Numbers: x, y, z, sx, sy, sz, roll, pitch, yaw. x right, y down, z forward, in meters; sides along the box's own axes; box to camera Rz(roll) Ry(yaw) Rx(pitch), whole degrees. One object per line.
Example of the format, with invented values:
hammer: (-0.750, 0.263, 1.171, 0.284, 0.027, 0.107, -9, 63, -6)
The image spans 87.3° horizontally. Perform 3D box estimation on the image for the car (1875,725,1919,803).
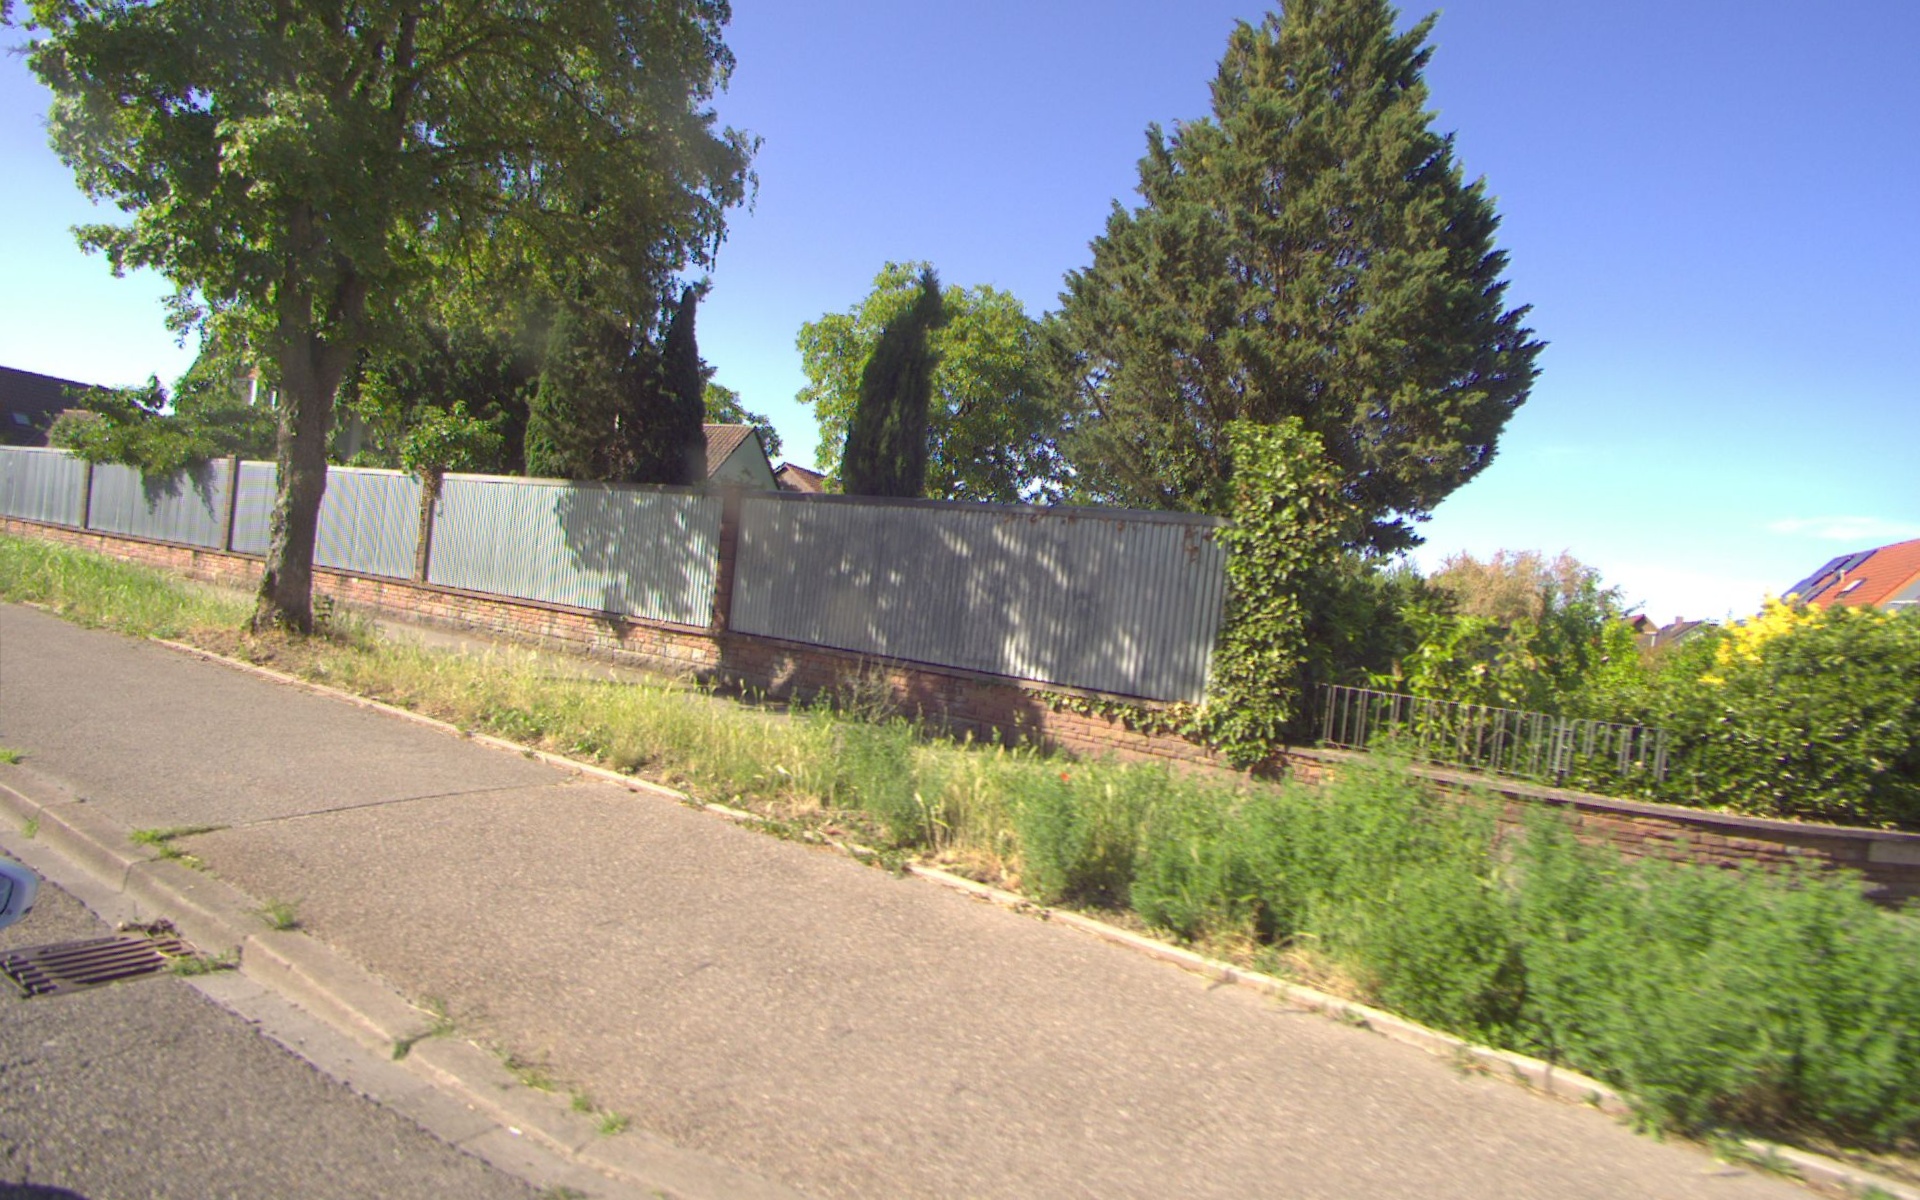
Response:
car: (20.362, 3.495, 20.306, 1.655, 1.456, 3.607, 8, 0, 25)
